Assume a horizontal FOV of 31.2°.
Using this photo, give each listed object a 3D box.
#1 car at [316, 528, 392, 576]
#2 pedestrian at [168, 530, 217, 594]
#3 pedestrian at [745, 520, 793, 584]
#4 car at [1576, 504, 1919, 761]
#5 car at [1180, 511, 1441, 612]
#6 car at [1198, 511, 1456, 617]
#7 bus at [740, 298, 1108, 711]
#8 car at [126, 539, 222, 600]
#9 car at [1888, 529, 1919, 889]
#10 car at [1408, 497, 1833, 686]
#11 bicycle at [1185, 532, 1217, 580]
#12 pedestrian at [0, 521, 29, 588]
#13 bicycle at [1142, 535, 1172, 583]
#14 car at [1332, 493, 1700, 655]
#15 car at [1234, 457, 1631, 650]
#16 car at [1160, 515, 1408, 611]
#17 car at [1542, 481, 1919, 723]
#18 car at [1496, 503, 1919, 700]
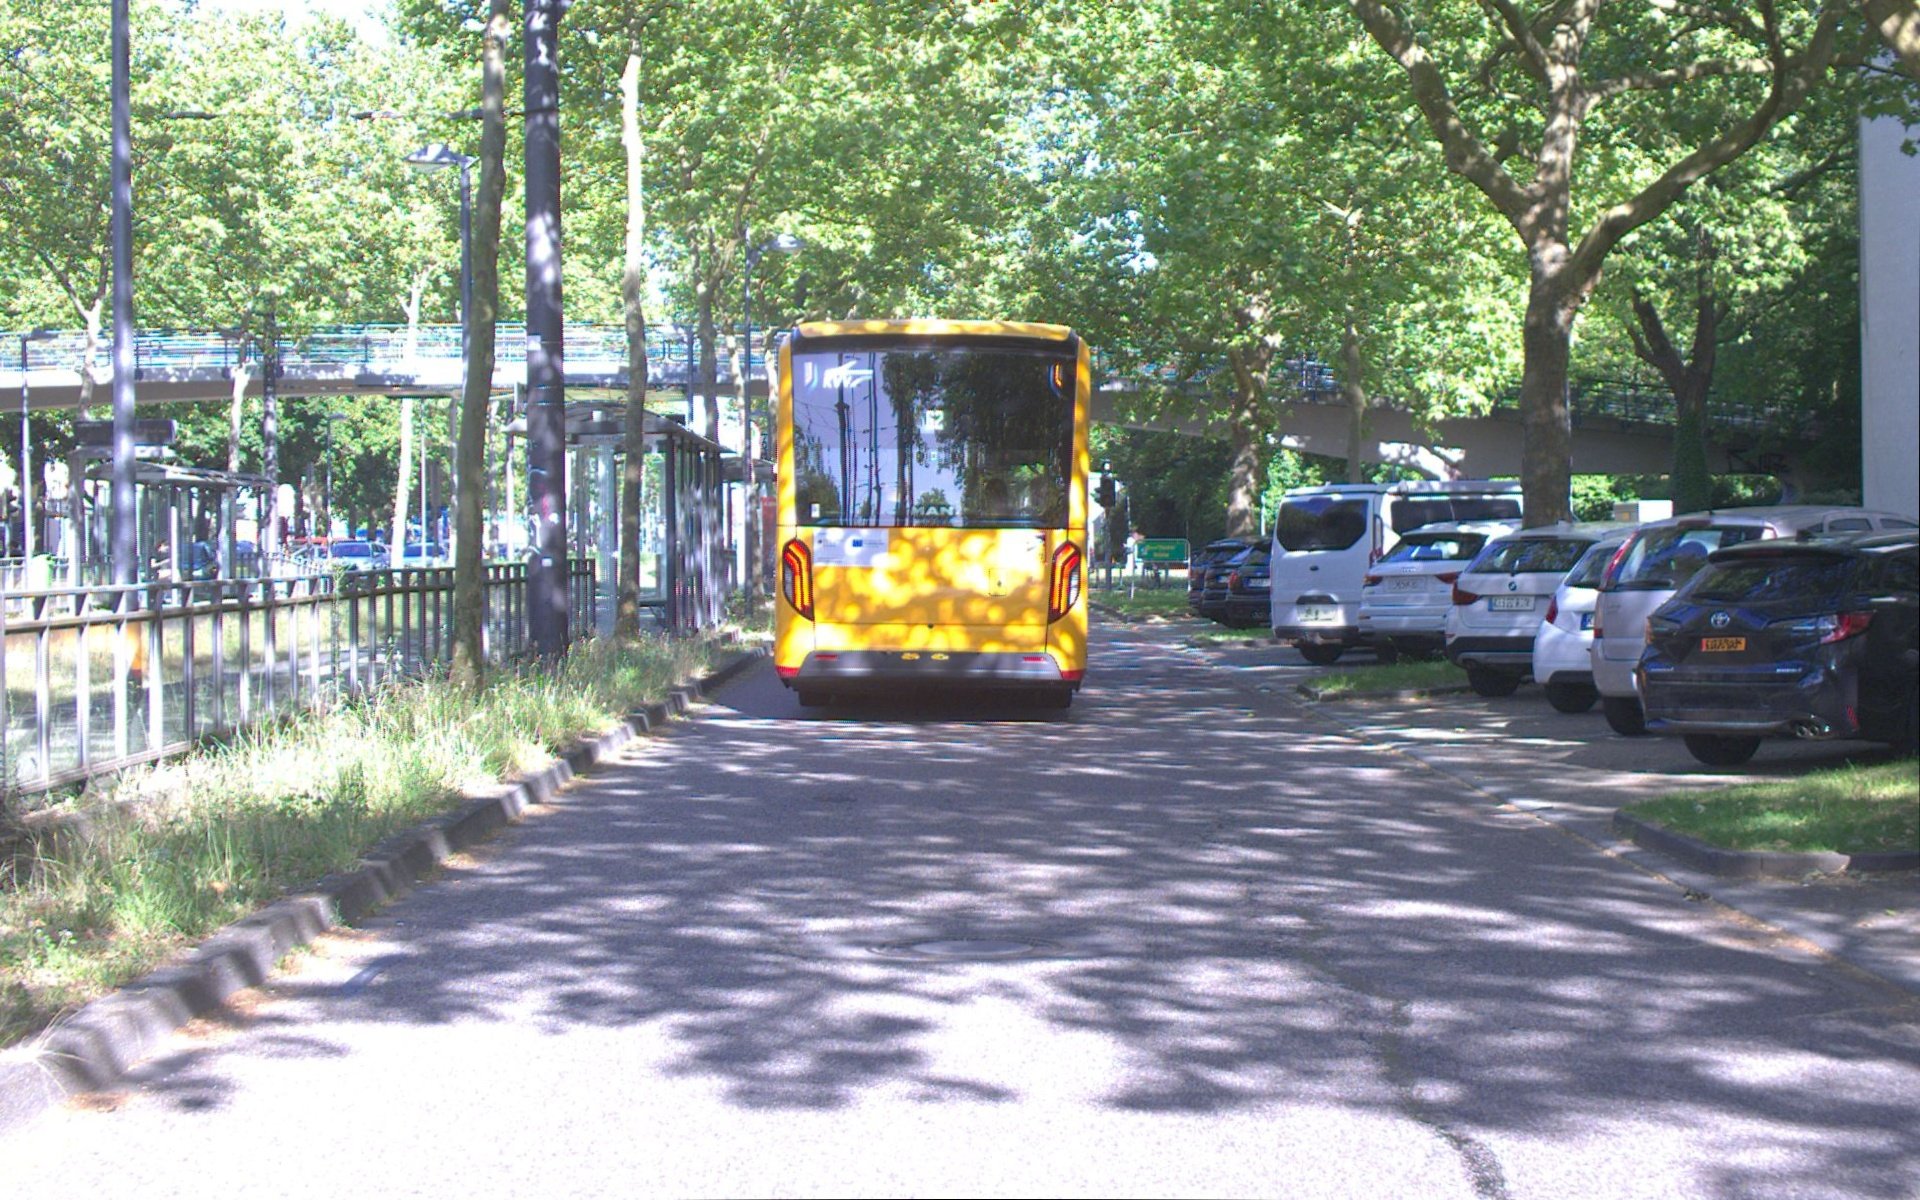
[{"bbox_3d":[-20.602,-1.647,116.993,1.794,1.575,4.288,0,1,0],"label":"car"},{"bbox_3d":[-14.855,-0.744,66.552,0.778,1.233,0.722,0,1,-1],"label":"pedestrian"},{"bbox_3d":[-3.732,-0.940,67.357,0.855,1.238,0.850,1,1,2],"label":"pedestrian"},{"bbox_3d":[6.120,0.111,21.708,4.396,1.423,1.951,-4,1,-39],"label":"car"},{"bbox_3d":[5.812,-0.639,56.751,4.244,1.456,1.799,-4,1,-40],"label":"car"},{"bbox_3d":[5.758,-0.572,53.675,3.989,1.463,1.782,-4,2,-43],"label":"car"},{"bbox_3d":[-0.409,-0.873,33.301,2.899,3.255,12.219,0,1,-1],"label":"bus"},{"bbox_3d":[-20.817,-0.828,91.225,1.794,1.561,4.288,0,1,-4],"label":"car"},{"bbox_3d":[5.943,0.340,14.626,1.799,1.418,4.578,0,2,45],"label":"car"},{"bbox_3d":[6.066,-0.103,31.269,1.798,1.505,4.202,-2,2,43],"label":"car"},{"bbox_3d":[6.239,-1.145,88.956,0.590,1.178,1.800,-3,2,-1],"label":"bicycle"},{"bbox_3d":[-23.453,-1.127,85.153,0.648,1.655,0.650,0,1,-4],"label":"pedestrian"},{"bbox_3d":[5.106,-1.070,89.165,0.590,1.178,1.800,-3,2,-1],"label":"bicycle"},{"bbox_3d":[6.138,-0.304,37.703,4.047,1.575,1.832,-4,2,-43],"label":"car"},{"bbox_3d":[5.618,-0.568,40.595,4.577,2.045,2.017,-4,1,-40],"label":"car"},{"bbox_3d":[5.667,-0.655,59.842,4.244,1.456,1.799,-4,1,-40],"label":"car"},{"bbox_3d":[6.249,-0.040,25.184,3.989,1.584,1.799,-4,2,-43],"label":"car"},{"bbox_3d":[6.377,-0.019,28.334,1.831,1.414,3.990,-1,2,45],"label":"car"}]
